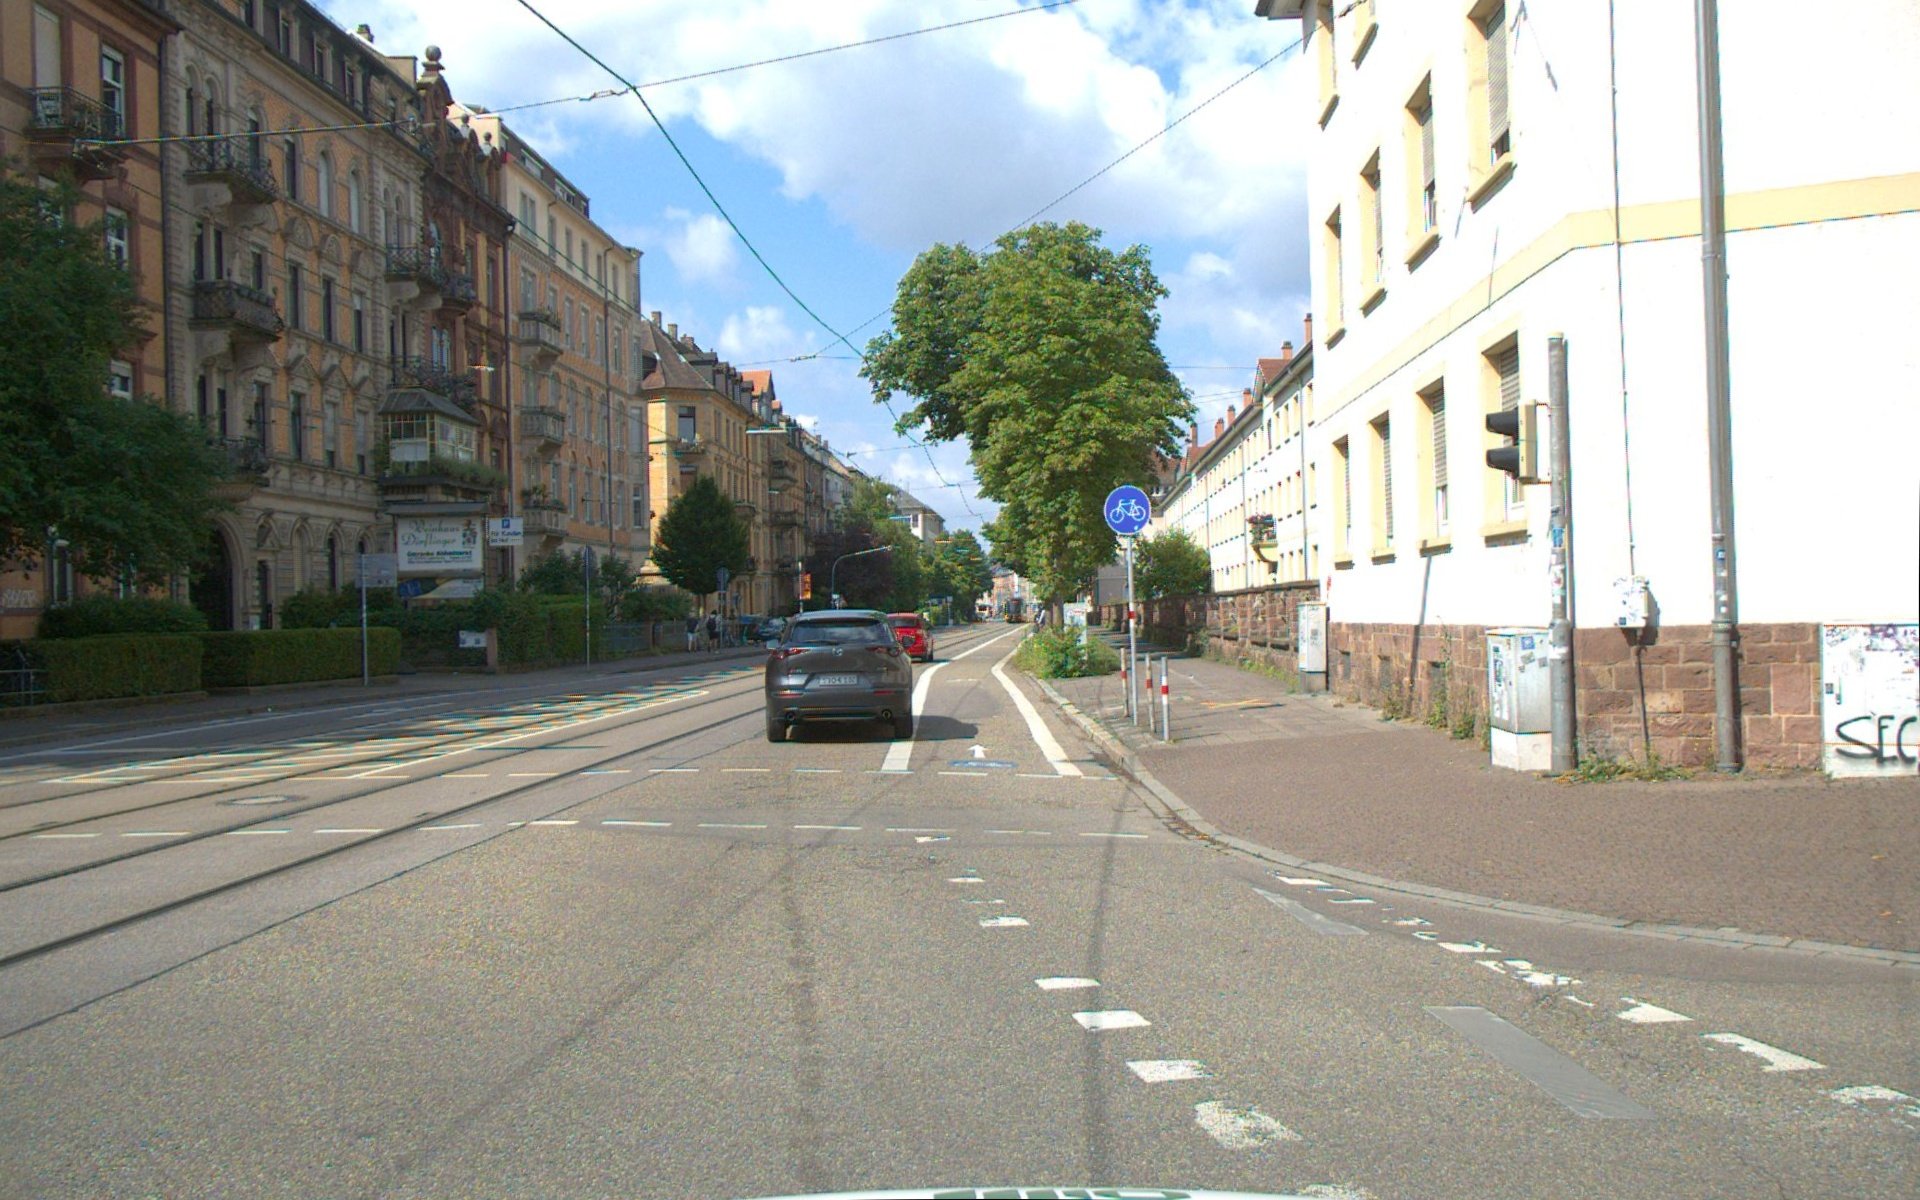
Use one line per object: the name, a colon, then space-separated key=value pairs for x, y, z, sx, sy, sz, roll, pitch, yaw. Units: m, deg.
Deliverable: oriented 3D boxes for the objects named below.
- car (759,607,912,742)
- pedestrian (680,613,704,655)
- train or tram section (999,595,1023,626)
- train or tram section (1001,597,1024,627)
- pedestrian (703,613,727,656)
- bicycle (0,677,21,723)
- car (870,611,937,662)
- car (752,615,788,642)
car: x=-1.583 y=0.881 z=21.034 sx=1.747 sy=1.540 sz=3.996 roll=1 pitch=-1 yaw=-4
pedestrian: x=-11.139 y=1.402 z=68.764 sx=0.771 sy=1.718 sz=0.732 roll=-2 pitch=-1 yaw=5
train or tram section: x=7.088 y=1.549 z=228.672 sx=2.935 sy=4.053 sz=13.813 roll=-2 pitch=-1 yaw=3
train or tram section: x=7.773 y=1.809 z=242.475 sx=2.935 sy=4.053 sz=13.813 roll=-2 pitch=-1 yaw=3
pedestrian: x=-10.032 y=1.402 z=67.805 sx=0.771 sy=1.718 sz=0.732 roll=-2 pitch=-1 yaw=5
bicycle: x=-15.199 y=1.574 z=25.400 sx=0.377 sy=0.689 sz=1.712 roll=-2 pitch=0 yaw=8
car: x=-1.674 y=1.071 z=50.082 sx=1.738 sy=1.490 sz=3.843 roll=0 pitch=0 yaw=2
car: x=-11.967 y=1.803 z=104.448 sx=1.622 sy=1.624 sz=3.931 roll=-2 pitch=-1 yaw=3
